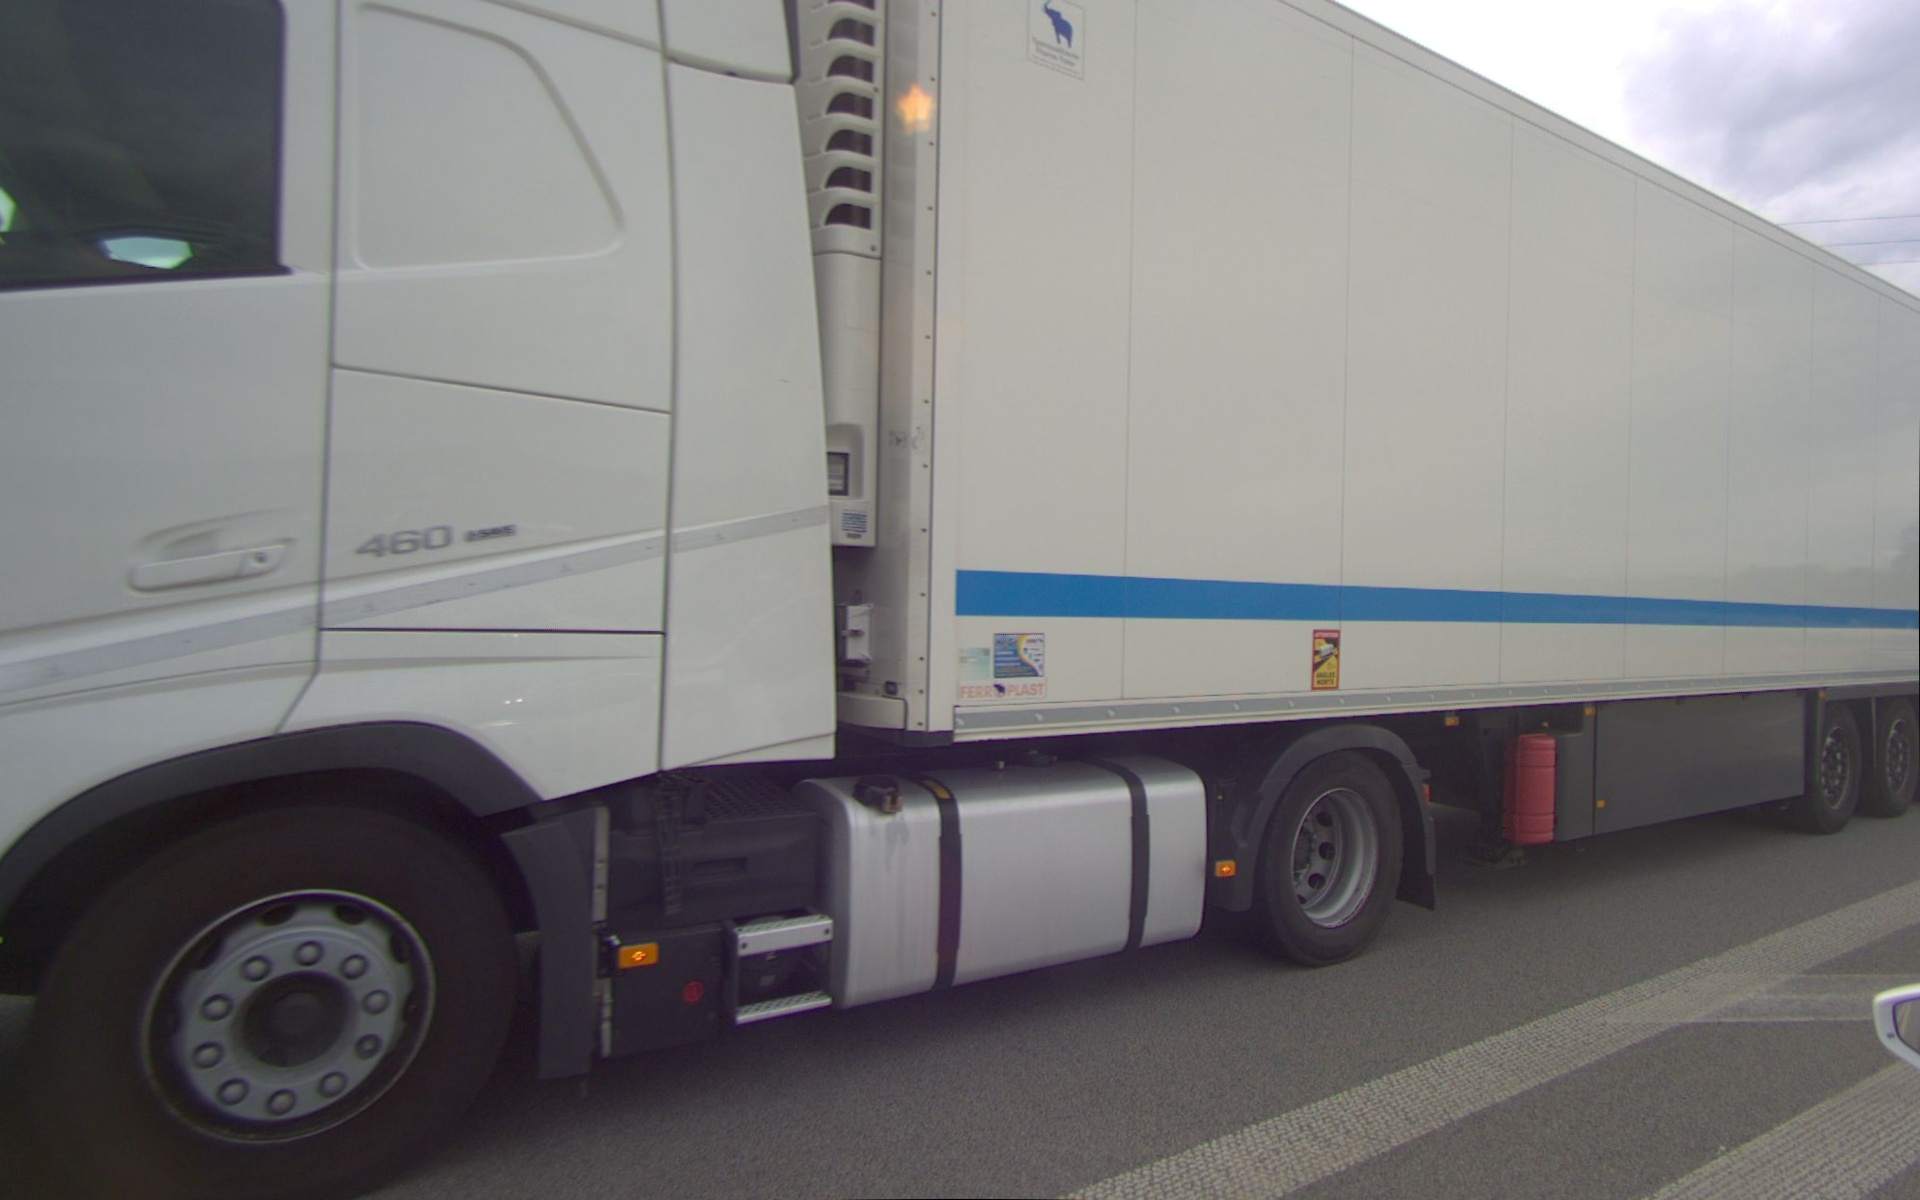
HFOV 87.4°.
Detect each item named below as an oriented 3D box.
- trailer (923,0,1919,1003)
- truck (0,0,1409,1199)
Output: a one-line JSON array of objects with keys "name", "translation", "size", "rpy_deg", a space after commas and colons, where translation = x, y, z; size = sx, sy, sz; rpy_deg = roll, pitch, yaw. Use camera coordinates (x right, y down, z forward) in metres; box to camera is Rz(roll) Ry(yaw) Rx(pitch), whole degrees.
[{"name": "trailer", "translation": [5.972, -0.447, 8.062], "size": [12.924, 4.049, 2.477], "rpy_deg": [1, 0, -31]}, {"name": "truck", "translation": [-1.024, -0.607, 3.834], "size": [5.144, 4.049, 2.477], "rpy_deg": [1, 0, -31]}]
